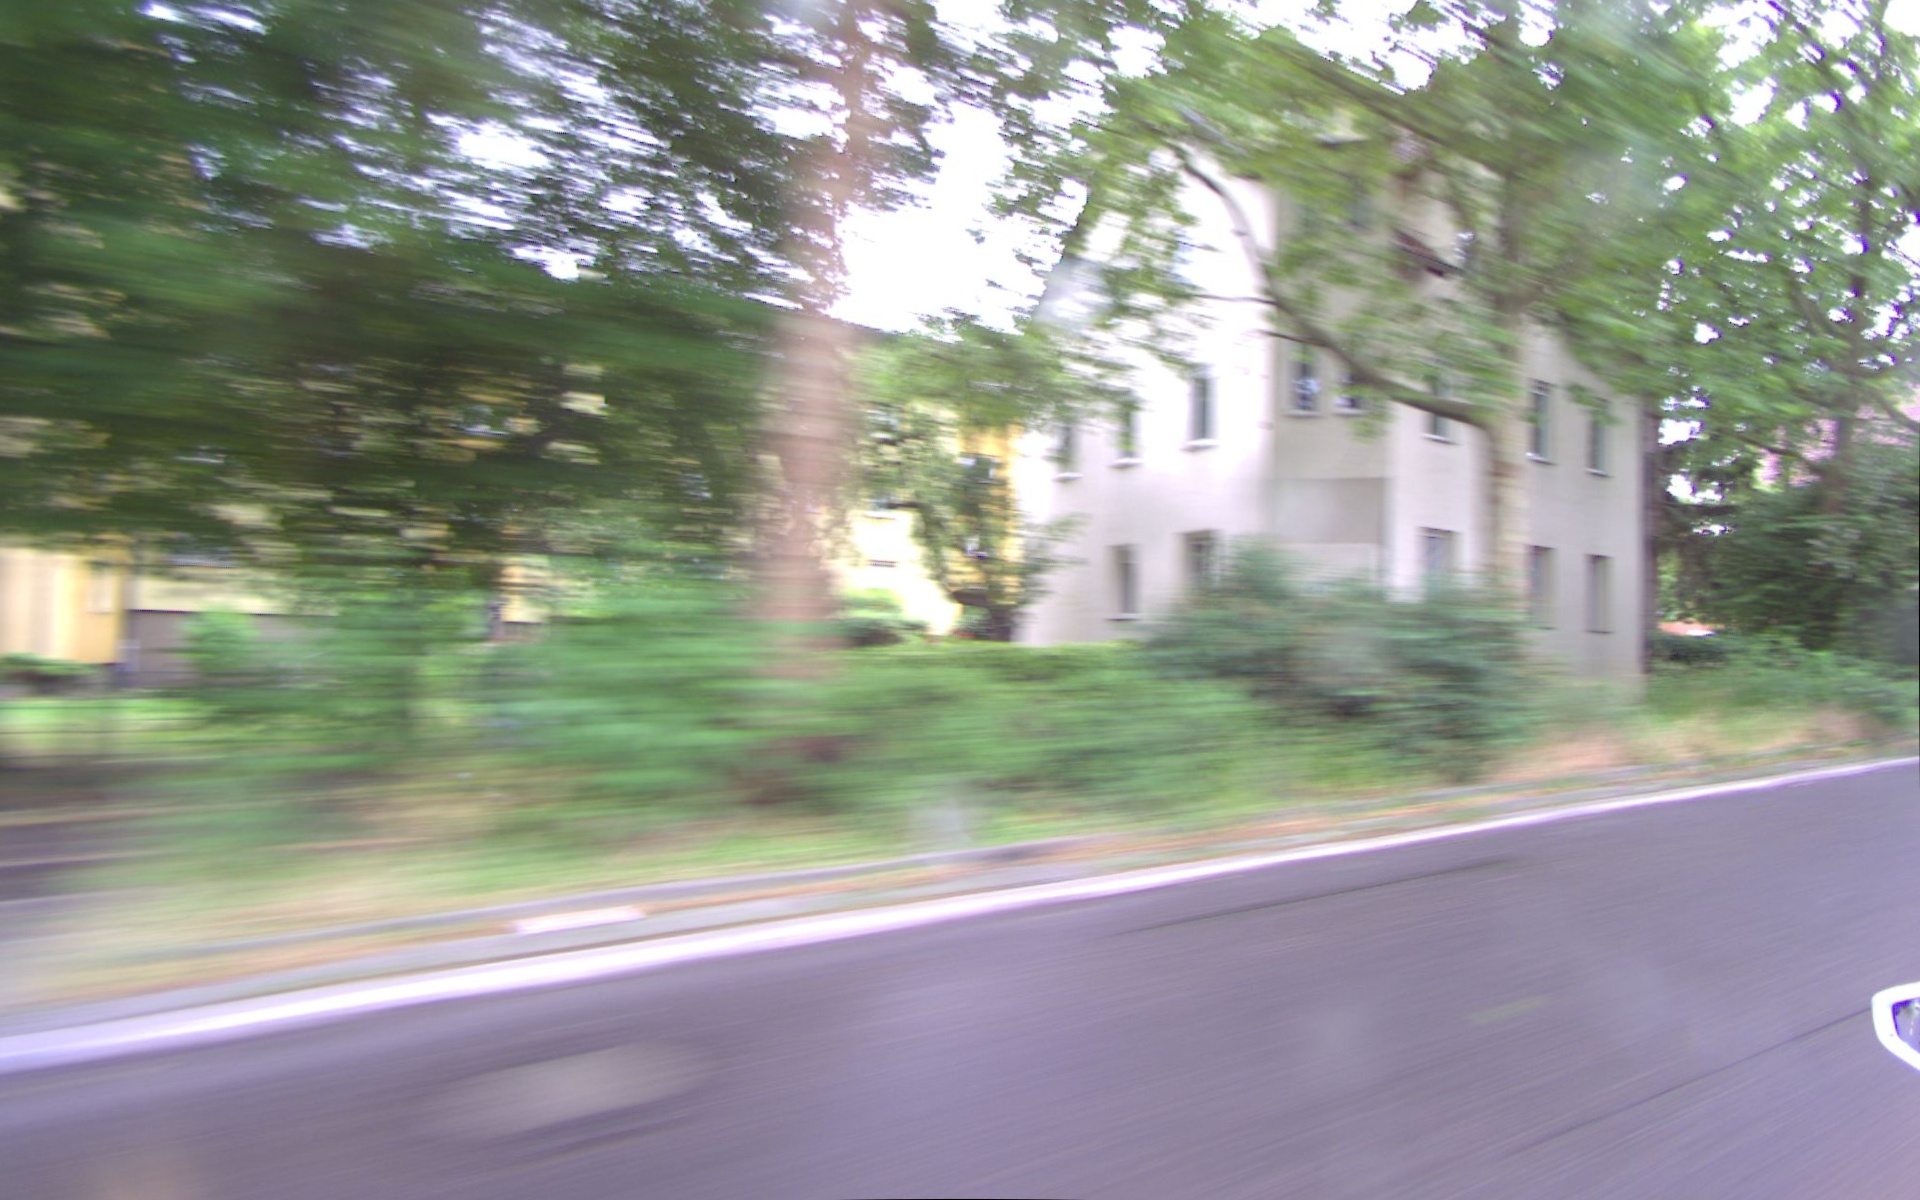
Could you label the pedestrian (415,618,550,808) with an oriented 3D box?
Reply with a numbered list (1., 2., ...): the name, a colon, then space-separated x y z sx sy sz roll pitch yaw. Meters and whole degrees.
1. pedestrian: -4.397 1.014 9.258 1.009 1.641 0.584 3 -1 -29
